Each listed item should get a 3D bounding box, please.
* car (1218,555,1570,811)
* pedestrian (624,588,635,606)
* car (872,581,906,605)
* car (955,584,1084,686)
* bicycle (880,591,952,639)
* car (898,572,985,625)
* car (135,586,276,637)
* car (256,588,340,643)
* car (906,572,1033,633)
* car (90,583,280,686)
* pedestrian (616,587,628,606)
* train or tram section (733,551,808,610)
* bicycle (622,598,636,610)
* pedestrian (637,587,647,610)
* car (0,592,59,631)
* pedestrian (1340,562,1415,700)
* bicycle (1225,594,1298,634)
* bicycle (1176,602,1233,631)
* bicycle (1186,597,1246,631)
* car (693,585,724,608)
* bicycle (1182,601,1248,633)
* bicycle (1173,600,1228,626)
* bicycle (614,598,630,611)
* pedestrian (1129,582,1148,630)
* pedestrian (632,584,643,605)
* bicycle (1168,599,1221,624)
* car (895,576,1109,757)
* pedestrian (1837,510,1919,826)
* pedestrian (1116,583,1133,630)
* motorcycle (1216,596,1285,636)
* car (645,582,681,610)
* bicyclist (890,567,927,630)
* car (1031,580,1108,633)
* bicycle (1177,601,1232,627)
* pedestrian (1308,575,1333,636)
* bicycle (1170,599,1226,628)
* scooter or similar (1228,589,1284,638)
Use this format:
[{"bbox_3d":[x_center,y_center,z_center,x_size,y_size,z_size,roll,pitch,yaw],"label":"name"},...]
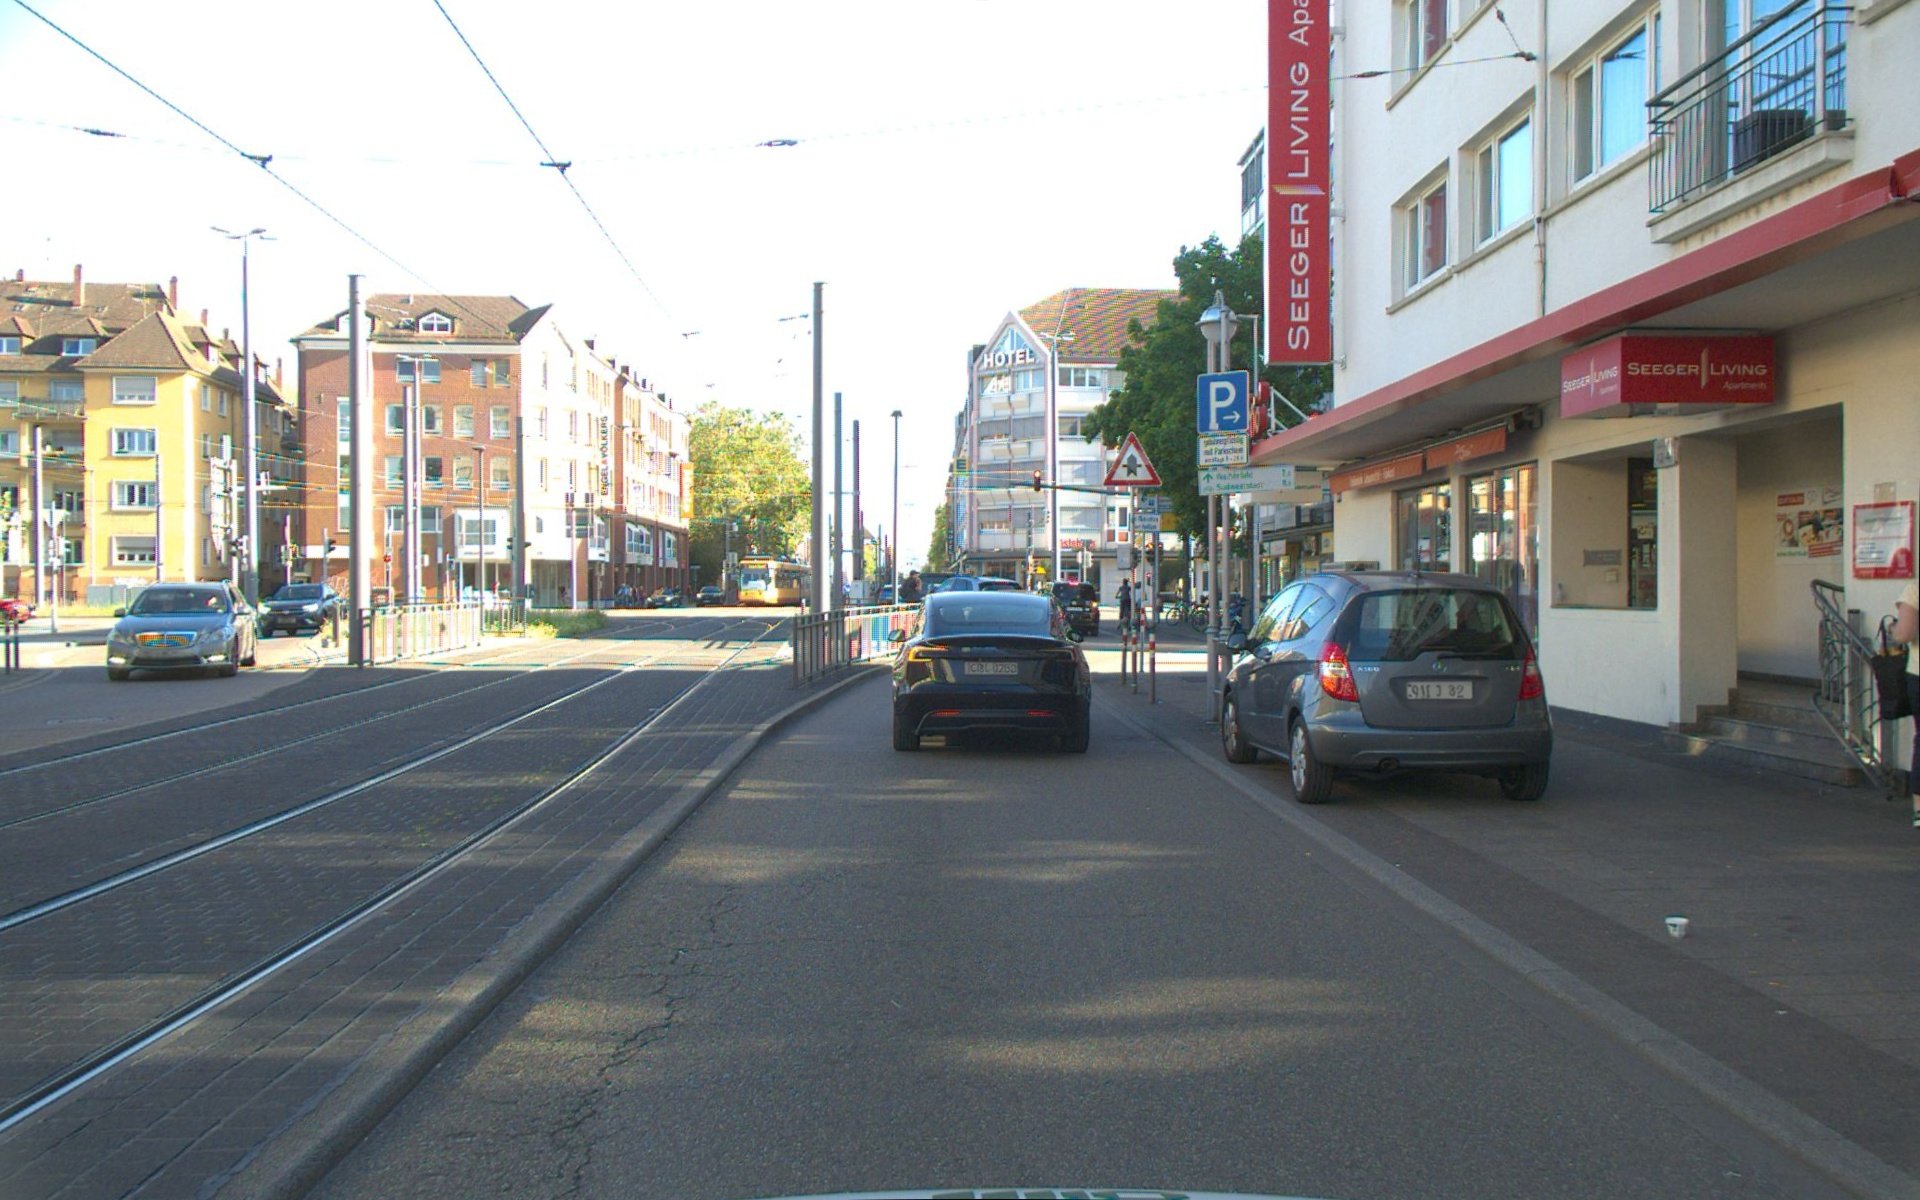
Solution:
[{"bbox_3d":[3.173,0.527,12.819,1.710,1.660,3.648,-1,1,-1],"label":"car"},{"bbox_3d":[-24.067,-0.206,120.317,0.682,1.331,0.564,0,0,-2],"label":"pedestrian"},{"bbox_3d":[-4.721,-0.457,110.138,1.952,1.445,4.001,2,0,2],"label":"car"},{"bbox_3d":[1.034,0.503,26.585,1.618,1.443,4.004,2,1,8],"label":"car"},{"bbox_3d":[-1.099,0.371,41.105,1.696,1.107,0.677,2,0,-9],"label":"bicycle"},{"bbox_3d":[-0.625,-0.065,51.634,1.793,1.545,4.203,2,0,-14],"label":"car"},{"bbox_3d":[-26.015,0.384,57.017,4.500,1.583,1.815,2,0,23],"label":"car"},{"bbox_3d":[-19.473,0.433,48.806,1.735,1.538,4.264,0,0,-14],"label":"car"},{"bbox_3d":[0.203,0.040,45.030,1.761,1.545,4.183,2,0,-26],"label":"car"},{"bbox_3d":[-12.630,0.501,27.262,1.848,1.521,4.913,-1,0,-14],"label":"car"},{"bbox_3d":[-24.022,-0.226,117.524,0.697,1.365,0.666,0,0,-1],"label":"pedestrian"},{"bbox_3d":[-13.047,-1.259,115.281,2.618,3.780,14.199,2,0,4],"label":"train or tram section"},{"bbox_3d":[-24.067,0.305,120.317,0.688,0.869,2.053,0,1,-1],"label":"bicycle"},{"bbox_3d":[-23.902,-0.100,124.236,0.698,1.696,0.563,2,0,-10],"label":"pedestrian"},{"bbox_3d":[-39.053,0.444,66.966,4.071,1.516,1.934,1,0,-11],"label":"car"},{"bbox_3d":[5.355,0.387,21.188,0.800,1.712,0.714,2,0,22],"label":"pedestrian"},{"bbox_3d":[8.741,0.396,48.001,2.009,1.141,0.483,1,0,0],"label":"bicycle"},{"bbox_3d":[8.423,0.569,57.113,1.885,0.967,0.526,1,0,0],"label":"bicycle"},{"bbox_3d":[8.400,0.455,54.225,1.885,1.116,0.555,1,0,0],"label":"bicycle"},{"bbox_3d":[-19.065,-0.276,125.314,1.715,1.680,3.999,2,0,-1],"label":"car"},{"bbox_3d":[8.030,0.540,52.156,2.009,0.999,0.483,1,0,0],"label":"bicycle"},{"bbox_3d":[8.738,0.479,60.122,1.885,0.906,0.526,1,0,0],"label":"bicycle"},{"bbox_3d":[-24.016,0.313,117.510,0.688,0.869,2.053,0,1,-1],"label":"bicycle"},{"bbox_3d":[6.242,0.209,57.870,0.616,1.642,0.643,1,0,2],"label":"pedestrian"},{"bbox_3d":[-23.789,-0.408,122.039,0.698,1.582,0.563,2,0,-10],"label":"pedestrian"},{"bbox_3d":[8.700,0.437,61.353,1.885,0.906,0.526,1,0,0],"label":"bicycle"},{"bbox_3d":[0.291,0.569,16.111,1.812,1.510,3.785,1,0,-2],"label":"car"},{"bbox_3d":[5.800,0.388,9.853,0.786,1.805,0.933,0,0,13],"label":"pedestrian"},{"bbox_3d":[5.993,0.235,60.306,0.550,1.712,0.750,1,0,4],"label":"pedestrian"},{"bbox_3d":[8.788,0.483,50.014,1.951,1.147,0.596,2,0,-1],"label":"motorcycle"},{"bbox_3d":[-21.913,-0.324,122.125,1.953,2.049,4.000,0,1,-1],"label":"car"},{"bbox_3d":[-1.277,-0.039,41.133,0.821,1.526,0.559,2,0,-9],"label":"bicyclist"},{"bbox_3d":[3.397,0.180,51.952,1.789,1.545,3.644,2,0,-6],"label":"car"},{"bbox_3d":[8.762,0.490,59.189,1.885,0.903,0.526,1,0,0],"label":"bicycle"},{"bbox_3d":[9.891,0.153,45.388,0.583,1.670,0.466,-1,0,0],"label":"pedestrian"},{"bbox_3d":[8.375,0.473,58.129,1.885,0.967,0.526,1,0,0],"label":"bicycle"},{"bbox_3d":[8.175,0.375,45.614,1.392,1.340,0.690,0,-2,-27],"label":"scooter or similar"}]
